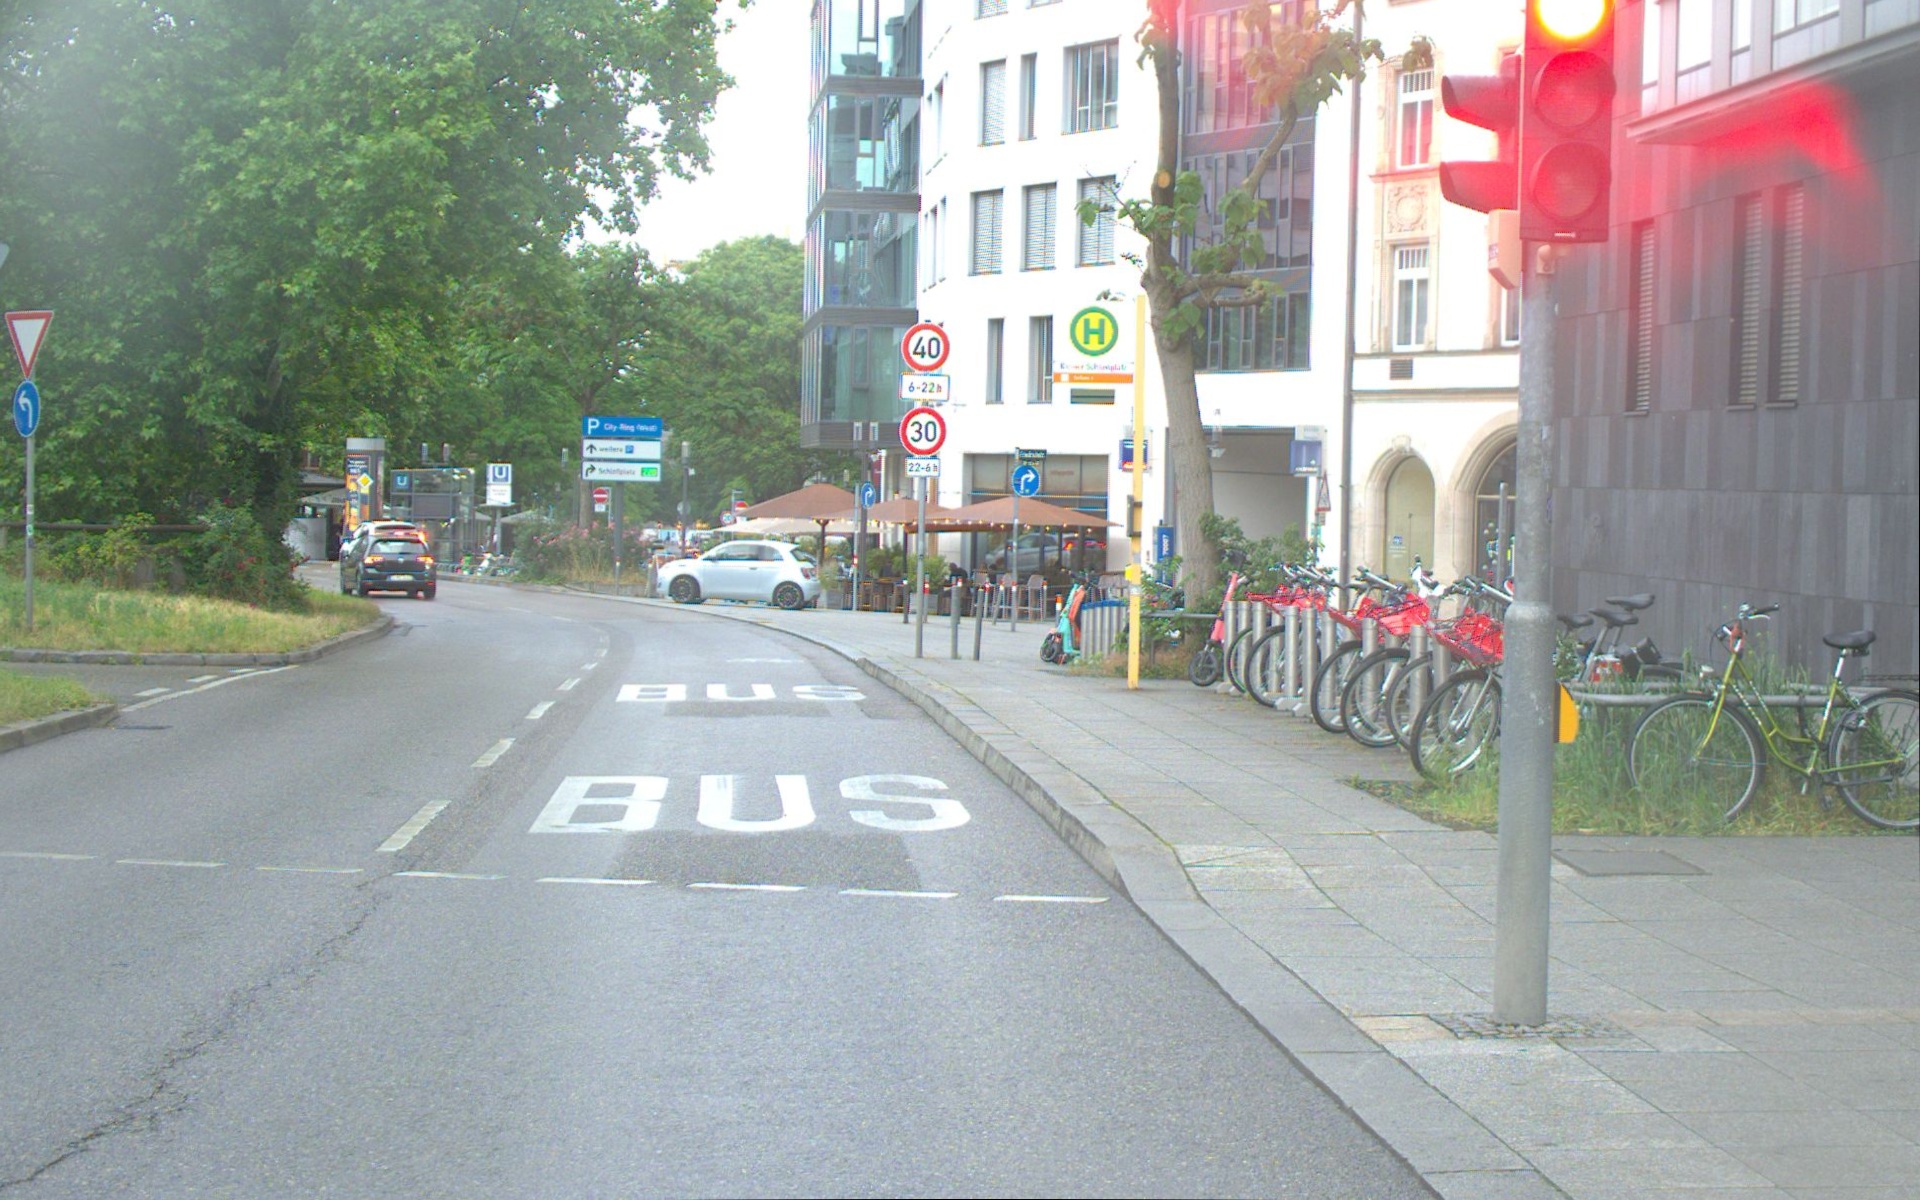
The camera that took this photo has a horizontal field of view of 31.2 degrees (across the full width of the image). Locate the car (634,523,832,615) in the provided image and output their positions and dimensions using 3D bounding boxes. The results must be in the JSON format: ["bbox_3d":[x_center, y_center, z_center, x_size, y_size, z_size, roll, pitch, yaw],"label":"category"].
[{"bbox_3d":[-5.037,-0.699,76.623,3.988,1.641,2.000,6,1,6],"label":"car"}]

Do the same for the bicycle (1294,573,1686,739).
[{"bbox_3d":[3.593,0.375,23.409,2.535,1.083,0.677,1,1,-5],"label":"bicycle"}]

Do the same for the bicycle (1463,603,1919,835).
[{"bbox_3d":[3.744,0.562,16.463,2.535,1.053,0.677,1,1,-5],"label":"bicycle"}]

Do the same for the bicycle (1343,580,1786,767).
[{"bbox_3d":[3.646,0.439,20.823,2.535,1.083,0.677,1,1,-5],"label":"bicycle"}]

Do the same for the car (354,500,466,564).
[{"bbox_3d":[-15.525,-1.932,96.897,2.178,1.695,4.001,1,1,-23],"label":"car"}]

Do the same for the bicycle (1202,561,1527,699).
[{"bbox_3d":[3.290,0.244,28.063,2.535,1.083,0.677,1,1,-5],"label":"bicycle"}]

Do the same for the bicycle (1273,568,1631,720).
[{"bbox_3d":[3.648,0.322,25.583,2.535,1.083,0.677,1,1,-5],"label":"bicycle"}]

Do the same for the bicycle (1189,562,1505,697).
[{"bbox_3d":[3.233,0.242,28.810,2.535,1.083,0.677,1,1,-5],"label":"bicycle"}]

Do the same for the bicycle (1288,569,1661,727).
[{"bbox_3d":[3.671,0.341,24.605,2.535,1.083,0.677,1,1,-5],"label":"bicycle"}]

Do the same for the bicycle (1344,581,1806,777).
[{"bbox_3d":[3.557,0.453,19.968,2.535,1.083,0.677,1,1,-5],"label":"bicycle"}]

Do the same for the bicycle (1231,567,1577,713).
[{"bbox_3d":[3.398,0.302,26.422,2.535,1.083,0.677,1,1,-5],"label":"bicycle"}]

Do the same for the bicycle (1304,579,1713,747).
[{"bbox_3d":[3.575,0.406,22.500,2.535,1.056,0.677,1,1,-5],"label":"bicycle"}]

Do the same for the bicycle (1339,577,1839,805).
[{"bbox_3d":[3.412,0.489,18.743,2.535,1.083,0.677,3,1,-5],"label":"bicycle"}]

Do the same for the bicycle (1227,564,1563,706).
[{"bbox_3d":[3.424,0.273,27.174,2.535,1.083,0.677,1,1,-5],"label":"bicycle"}]

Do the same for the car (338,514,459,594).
[{"bbox_3d":[-12.958,-1.080,79.190,2.161,1.700,4.555,1,1,-16],"label":"car"}]

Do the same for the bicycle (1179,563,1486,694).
[{"bbox_3d":[3.189,0.238,29.533,2.535,1.083,0.627,1,1,-5],"label":"bicycle"}]

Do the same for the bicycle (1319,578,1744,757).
[{"bbox_3d":[3.580,0.419,21.634,2.535,1.083,0.677,1,1,-5],"label":"bicycle"}]

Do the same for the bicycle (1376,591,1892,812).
[{"bbox_3d":[3.499,0.523,17.940,2.535,1.083,0.677,1,1,-5],"label":"bicycle"}]
